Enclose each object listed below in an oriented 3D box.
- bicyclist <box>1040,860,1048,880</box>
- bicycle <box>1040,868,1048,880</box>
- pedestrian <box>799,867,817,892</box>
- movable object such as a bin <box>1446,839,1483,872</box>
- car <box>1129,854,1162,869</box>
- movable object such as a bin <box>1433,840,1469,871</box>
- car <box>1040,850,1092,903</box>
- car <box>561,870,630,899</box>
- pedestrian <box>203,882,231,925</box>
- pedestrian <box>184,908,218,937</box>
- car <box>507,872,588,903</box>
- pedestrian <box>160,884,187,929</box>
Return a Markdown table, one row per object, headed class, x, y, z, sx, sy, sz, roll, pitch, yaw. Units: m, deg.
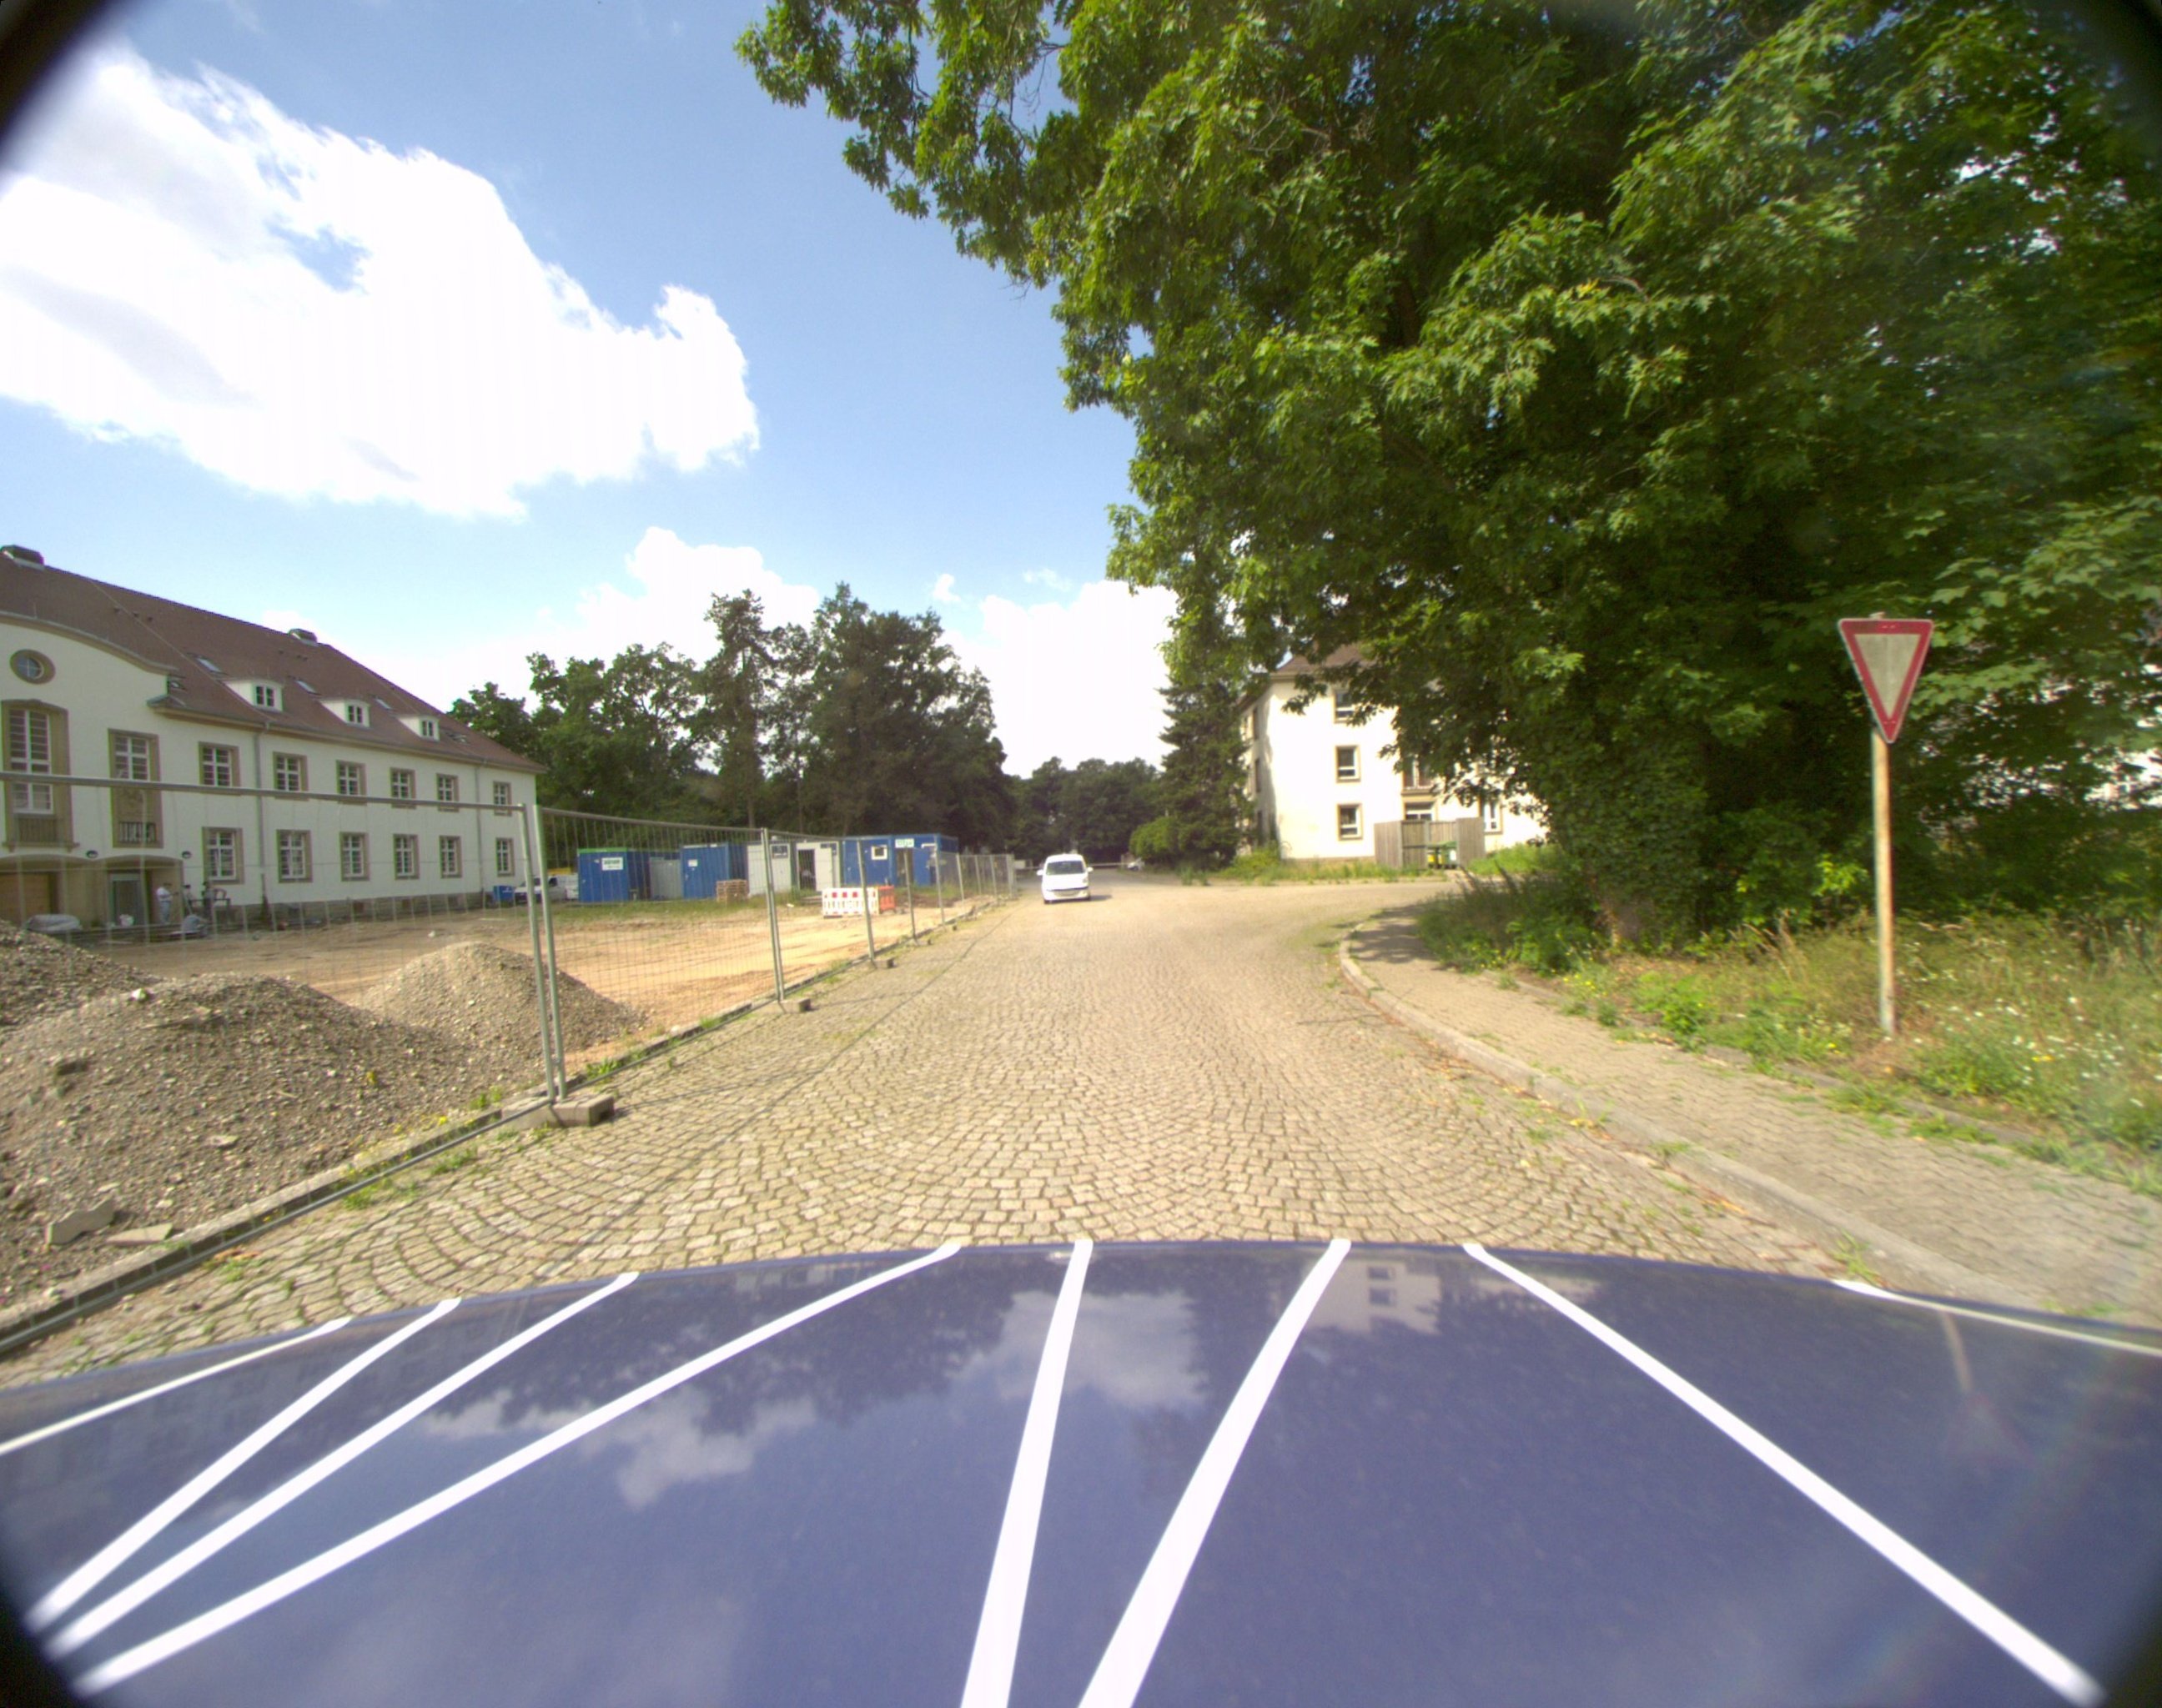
| class | x | y | z | sx | sy | sz | roll | pitch | yaw |
| --- | --- | --- | --- | --- | --- | --- | --- | --- | --- |
| bicyclist | -3.393 | 1.470 | 70.202 | 0.634 | 1.760 | 0.571 | -3 | 0 | -1 |
| bicycle | -3.388 | 1.852 | 70.277 | 0.634 | 0.990 | 1.557 | -3 | 0 | -1 |
| pedestrian | -13.944 | 1.306 | 38.770 | 0.602 | 1.235 | 0.682 | -3 | 0 | -1 |
| movable object such as a bin | 18.545 | 0.068 | 36.788 | 1.172 | 1.522 | 1.153 | -2 | 1 | -2 |
| car | 8.240 | 0.956 | 97.724 | 4.084 | 1.634 | 1.767 | -2 | 0 | 0 |
| movable object such as a bin | 18.478 | 0.067 | 37.984 | 1.172 | 1.522 | 1.153 | -2 | 1 | -2 |
| car | -0.629 | 0.876 | 30.126 | 1.839 | 1.857 | 4.830 | -3 | -1 | -2 |
| car | -32.032 | 2.008 | 50.267 | 1.802 | 1.673 | 4.040 | -2 | 0 | 2 |
| pedestrian | -36.523 | 2.094 | 32.135 | 0.491 | 1.777 | 0.506 | -3 | 0 | -2 |
| pedestrian | -35.241 | 2.734 | 30.443 | 0.491 | 1.108 | 0.709 | -3 | 0 | -1 |
| car | -34.990 | 2.174 | 50.002 | 1.884 | 1.718 | 4.708 | -2 | 0 | 2 |
| pedestrian | -36.639 | 2.102 | 30.678 | 0.490 | 1.777 | 0.507 | -3 | 0 | 23 |
